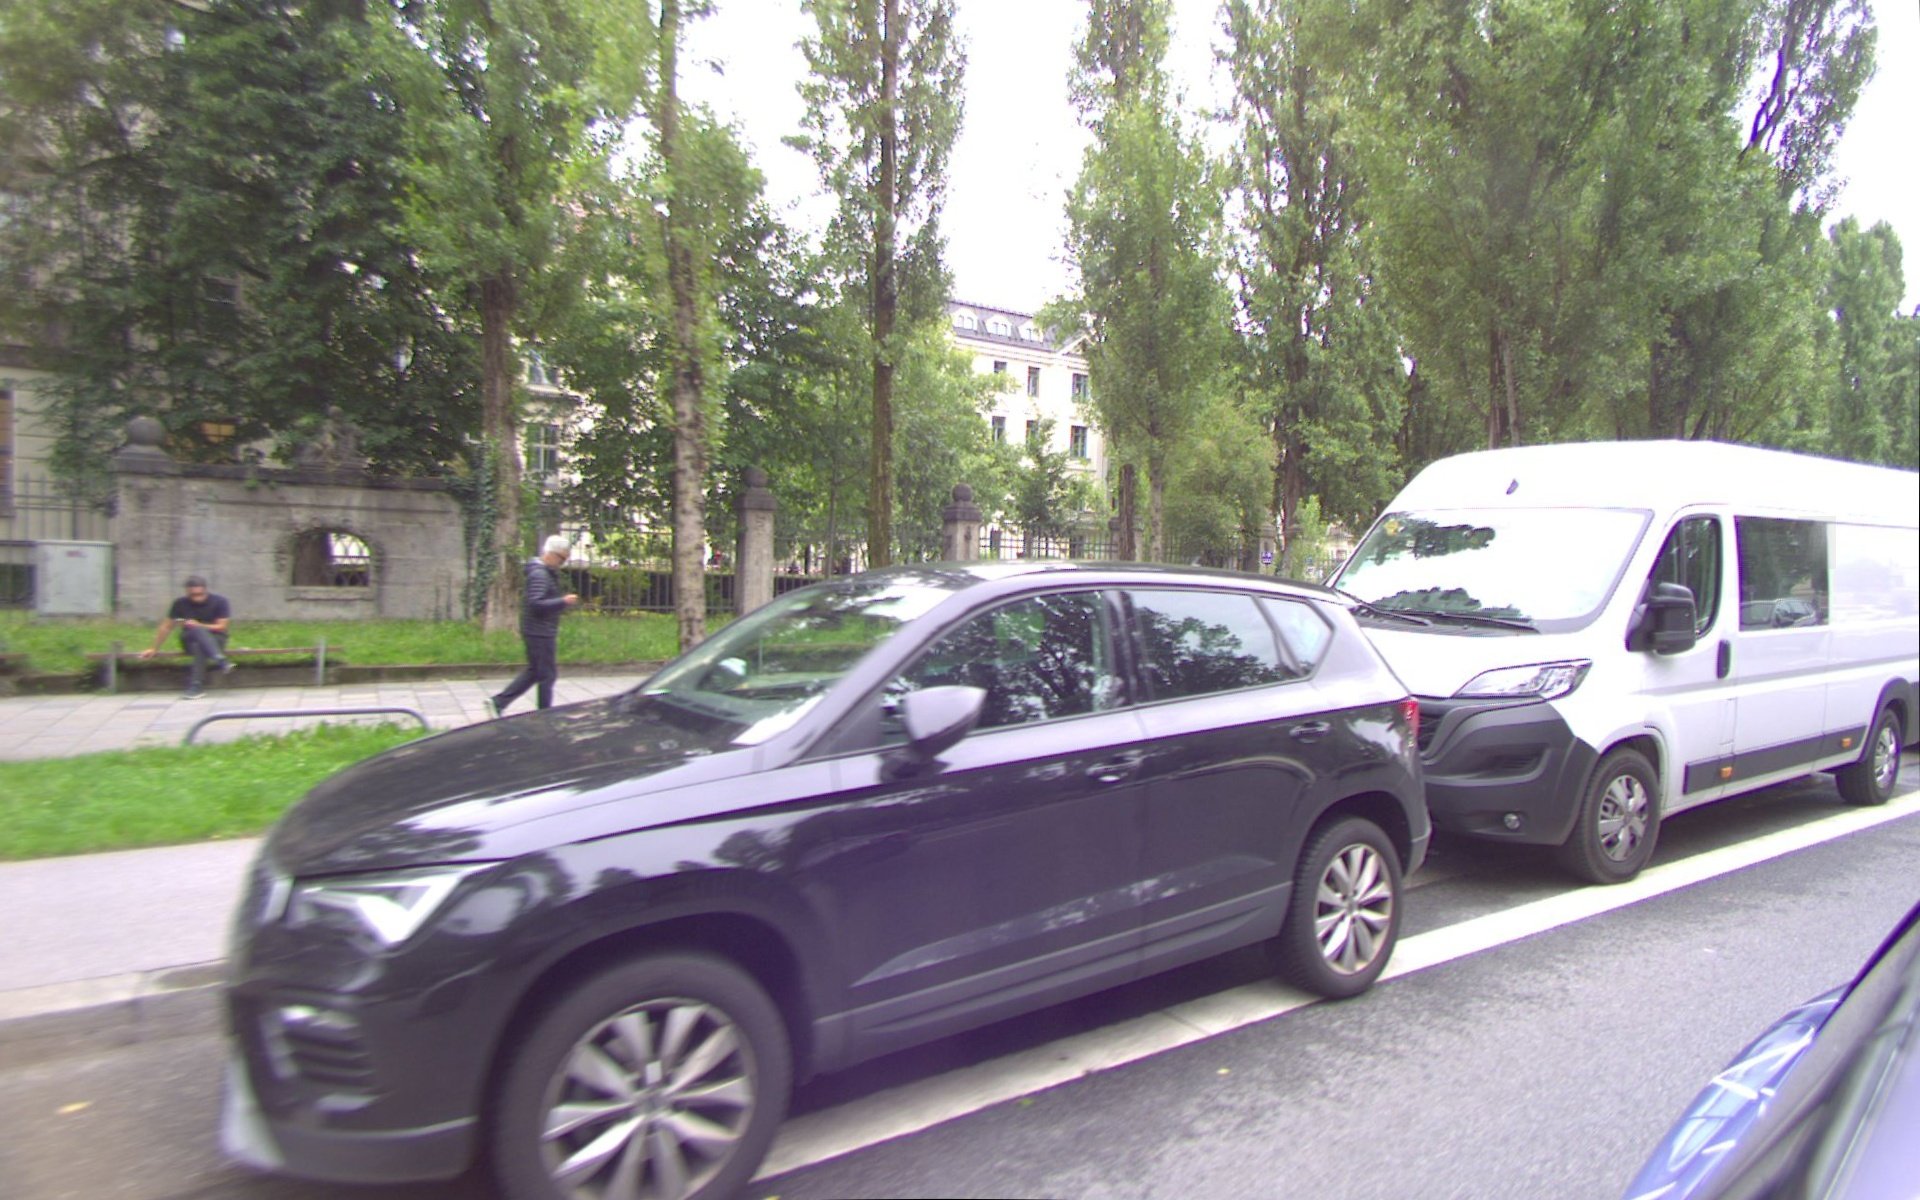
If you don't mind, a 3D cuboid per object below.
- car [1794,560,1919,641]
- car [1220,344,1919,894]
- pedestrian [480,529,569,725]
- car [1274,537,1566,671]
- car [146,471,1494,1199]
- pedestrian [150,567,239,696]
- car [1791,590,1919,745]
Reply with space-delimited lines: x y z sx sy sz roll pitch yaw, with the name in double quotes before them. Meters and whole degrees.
"car" 24.127 0.024 26.746 4.790 1.969 1.887 0 0 -34
"car" 4.795 0.082 7.160 6.160 2.510 2.082 0 0 -32
"pedestrian" -3.949 0.224 9.163 0.620 1.680 0.718 1 0 -32
"car" 7.784 0.026 16.993 4.982 1.970 2.002 0 1 -31
"car" -0.136 0.571 3.631 4.140 1.610 1.828 0 1 -33
"pedestrian" -7.997 0.300 10.603 0.658 1.259 0.883 1 2 -32
"car" 10.681 0.646 10.718 3.922 1.468 1.761 0 -1 -32
